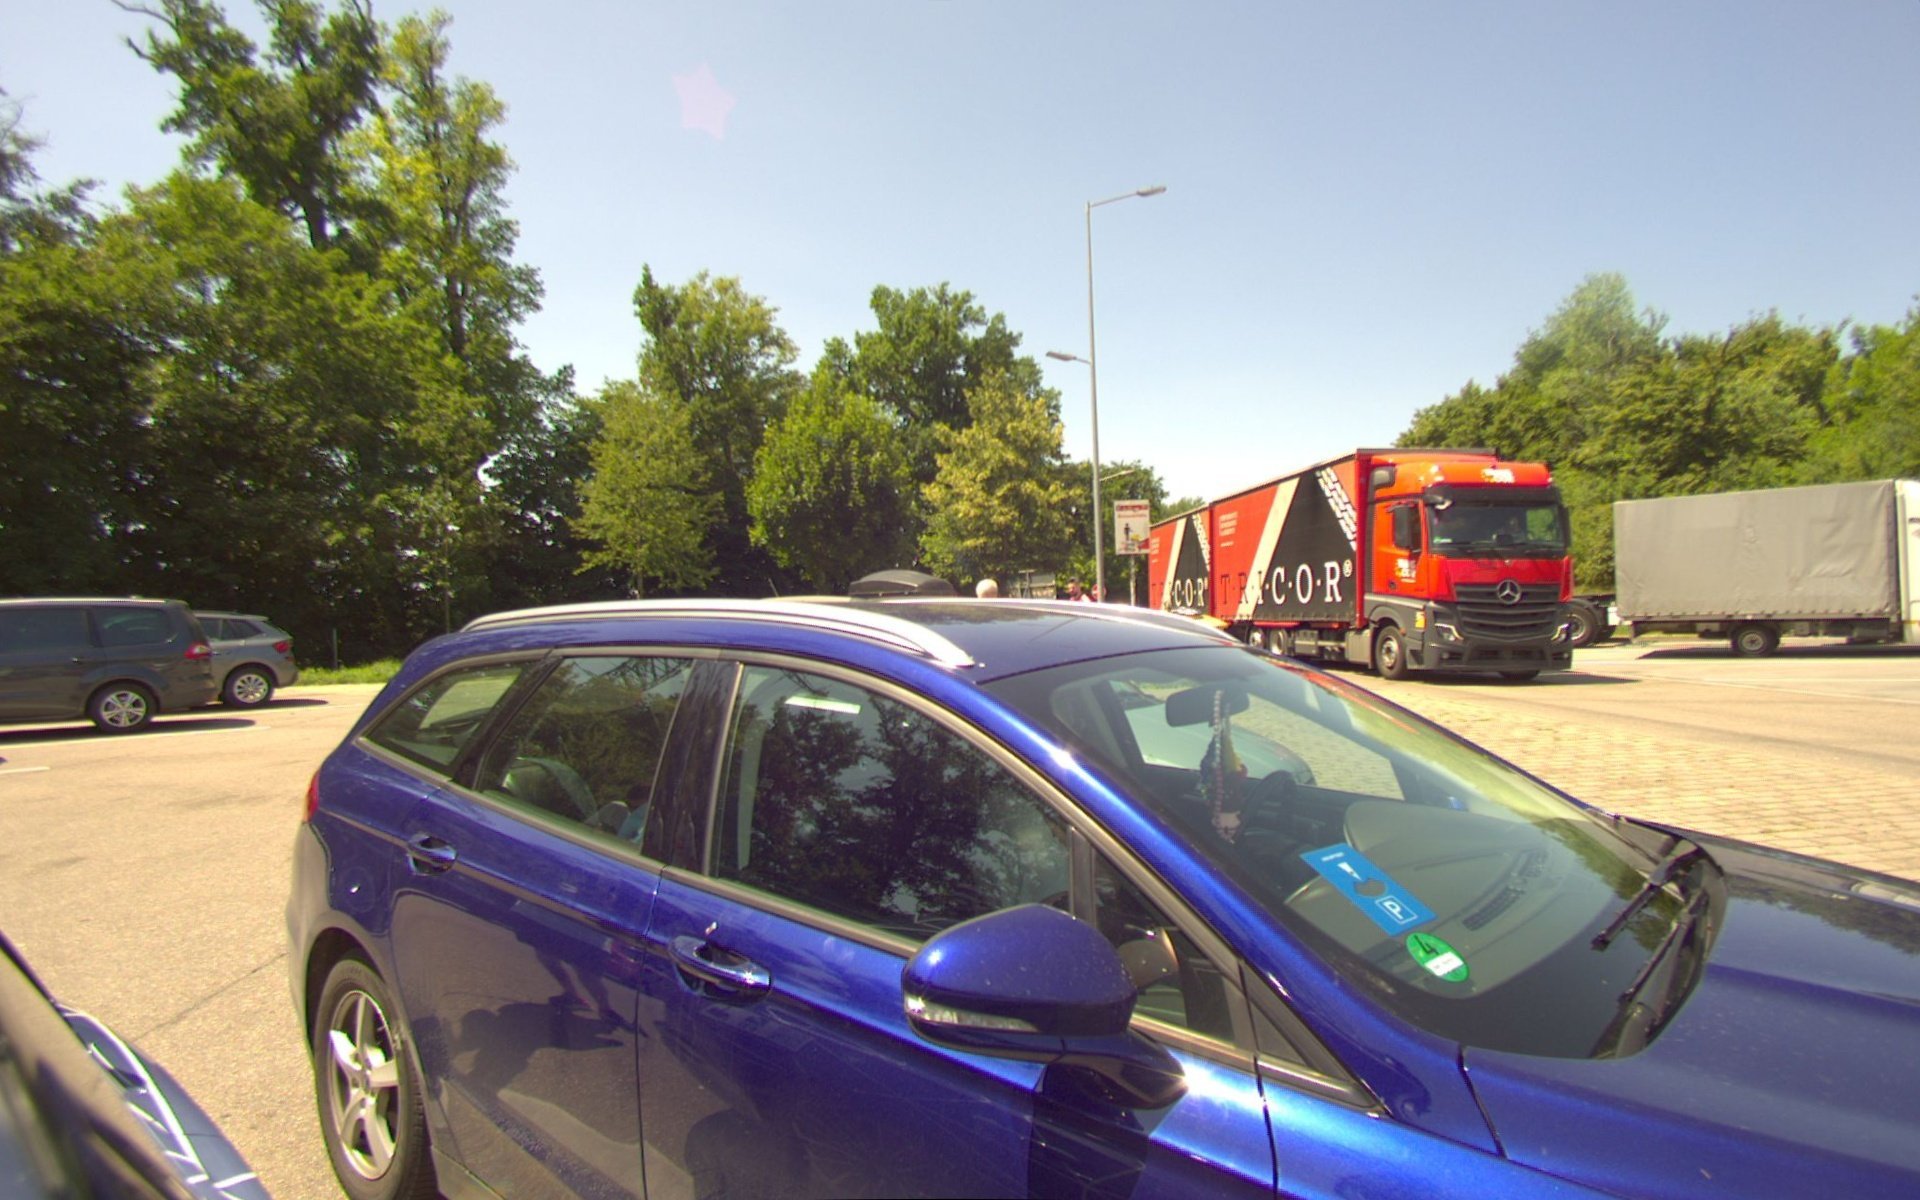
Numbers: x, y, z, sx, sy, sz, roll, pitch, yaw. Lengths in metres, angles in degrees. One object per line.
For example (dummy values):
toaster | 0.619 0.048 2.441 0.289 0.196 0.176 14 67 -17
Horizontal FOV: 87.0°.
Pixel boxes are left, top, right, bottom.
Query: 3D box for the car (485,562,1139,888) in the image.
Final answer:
car | -1.231 0.636 6.711 4.466 1.476 1.756 -3 -1 40

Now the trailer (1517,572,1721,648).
trailer | 15.777 0.279 24.336 3.900 1.674 1.456 -2 -1 41

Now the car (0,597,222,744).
car | -11.690 0.853 12.558 3.910 1.701 1.782 -1 -1 -43

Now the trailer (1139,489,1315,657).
trailer | 7.602 -0.622 30.275 2.803 4.290 8.685 0 -1 -1

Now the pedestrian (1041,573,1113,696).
pedestrian | 1.645 0.478 14.240 0.638 1.662 0.717 -1 -2 -43

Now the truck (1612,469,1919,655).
truck | 16.661 -0.637 18.760 7.347 3.152 2.339 -3 -2 41

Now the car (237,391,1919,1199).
car | 0.234 0.635 2.104 4.466 1.476 1.756 -3 -1 40

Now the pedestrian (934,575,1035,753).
pedestrian | 0.227 0.589 9.731 0.661 1.614 0.762 -1 -1 -24

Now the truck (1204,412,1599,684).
truck | 8.055 -0.714 20.803 2.653 4.159 10.615 0 -1 -5

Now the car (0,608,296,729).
car | -12.720 0.978 15.609 3.910 1.598 1.782 -1 -1 -43

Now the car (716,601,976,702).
car | -2.021 0.834 17.089 4.466 1.476 1.756 -3 -1 40

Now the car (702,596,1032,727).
car | -1.368 0.762 13.536 4.466 1.476 1.756 -3 -1 40
